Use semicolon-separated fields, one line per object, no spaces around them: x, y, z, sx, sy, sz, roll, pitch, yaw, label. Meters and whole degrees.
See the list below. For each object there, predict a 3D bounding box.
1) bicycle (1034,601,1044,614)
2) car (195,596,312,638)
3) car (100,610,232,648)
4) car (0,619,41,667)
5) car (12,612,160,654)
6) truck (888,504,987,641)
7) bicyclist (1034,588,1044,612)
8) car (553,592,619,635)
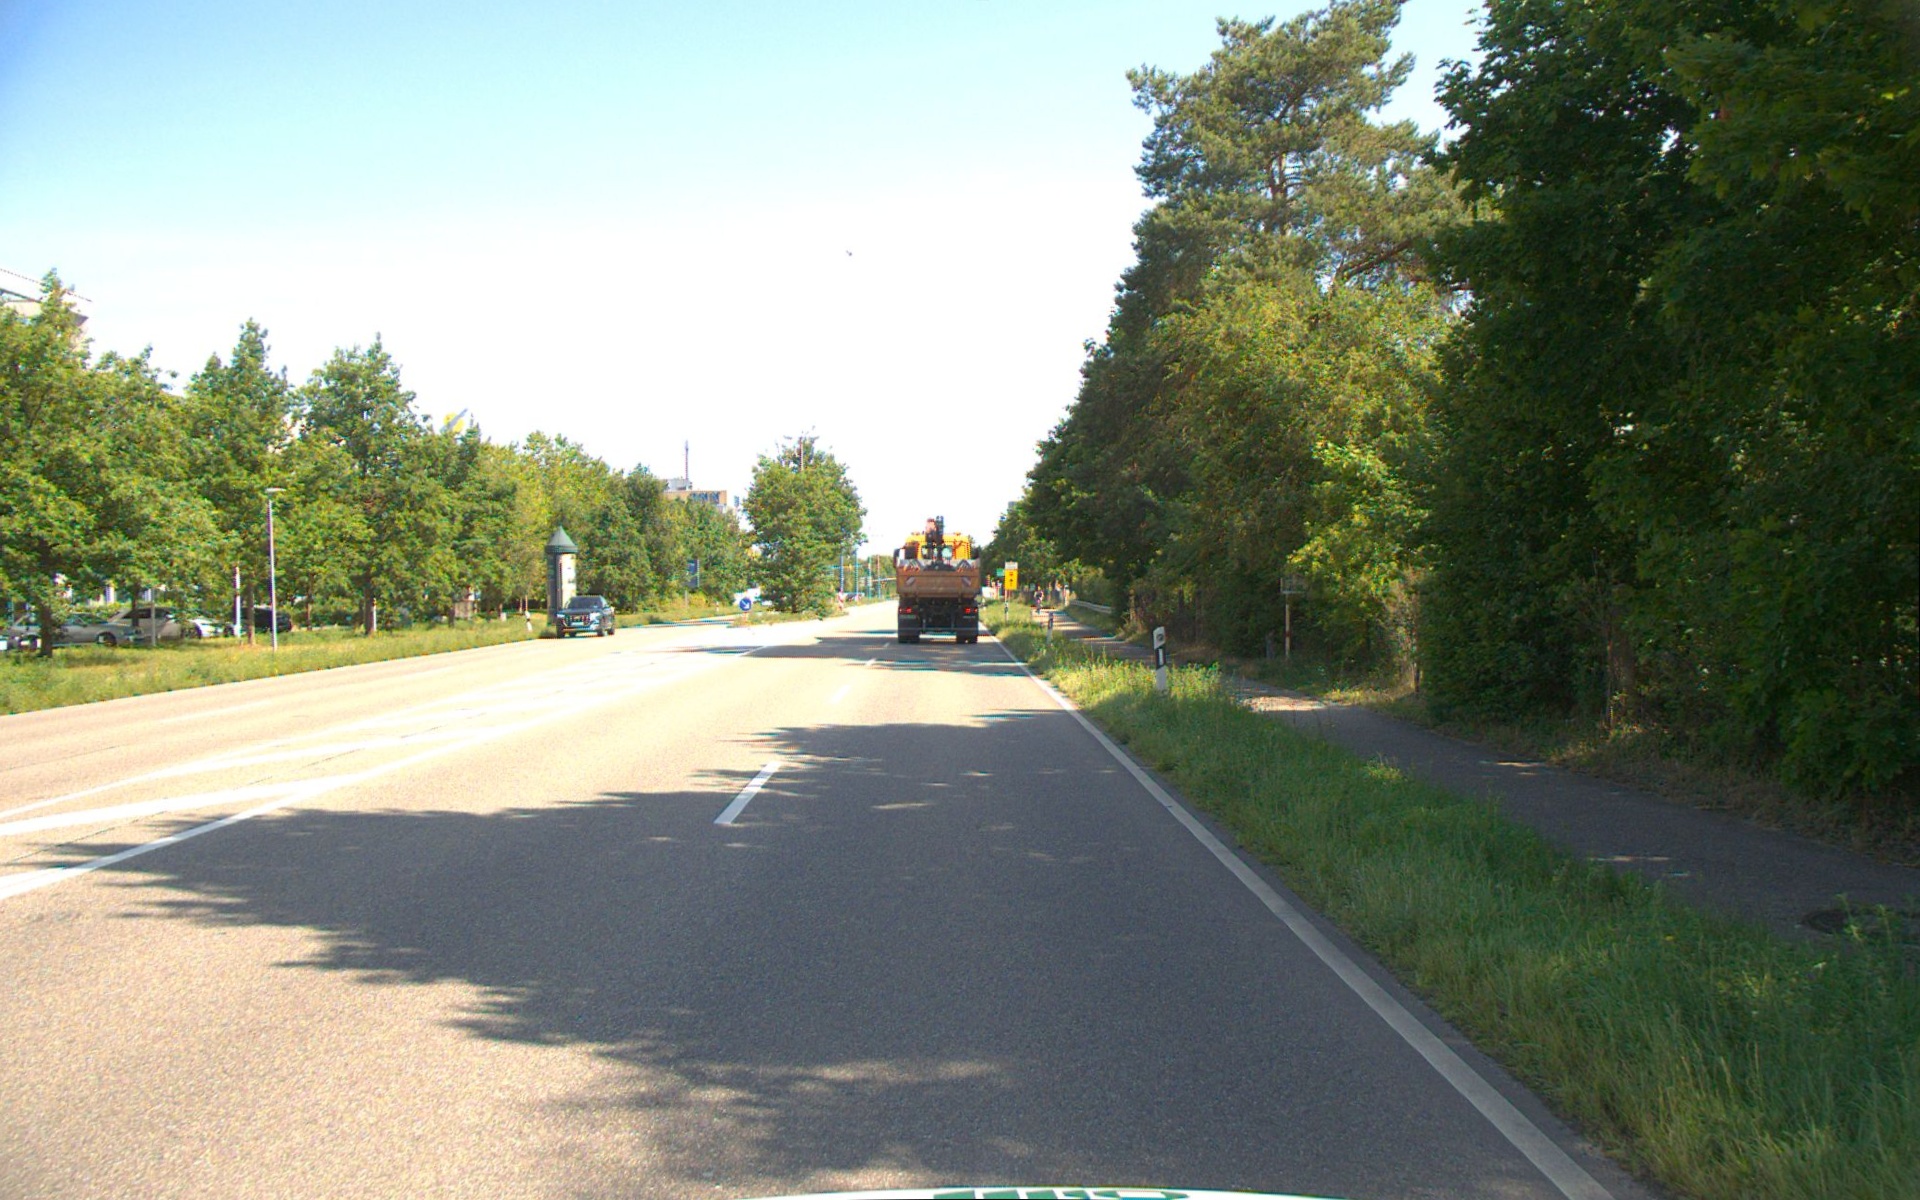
5.145;0.501;107.668;0.547;0.830;1.963;-2;0;-1;bicycle
-32.416;0.762;75.937;4.439;1.788;2.001;-2;0;2;car
-33.197;1.204;69.263;4.501;1.462;2.000;-1;0;-1;car
-31.820;1.390;52.189;4.501;1.462;2.000;-1;0;-1;car
-33.161;1.248;62.824;4.501;1.462;2.000;-1;0;-1;car
-0.809;-0.821;51.969;2.814;3.948;7.396;1;0;-3;truck
5.121;-0.004;107.654;0.547;1.585;0.557;-2;0;-1;bicyclist
-15.118;0.526;67.000;1.764;1.599;3.999;-2;0;-1;car
